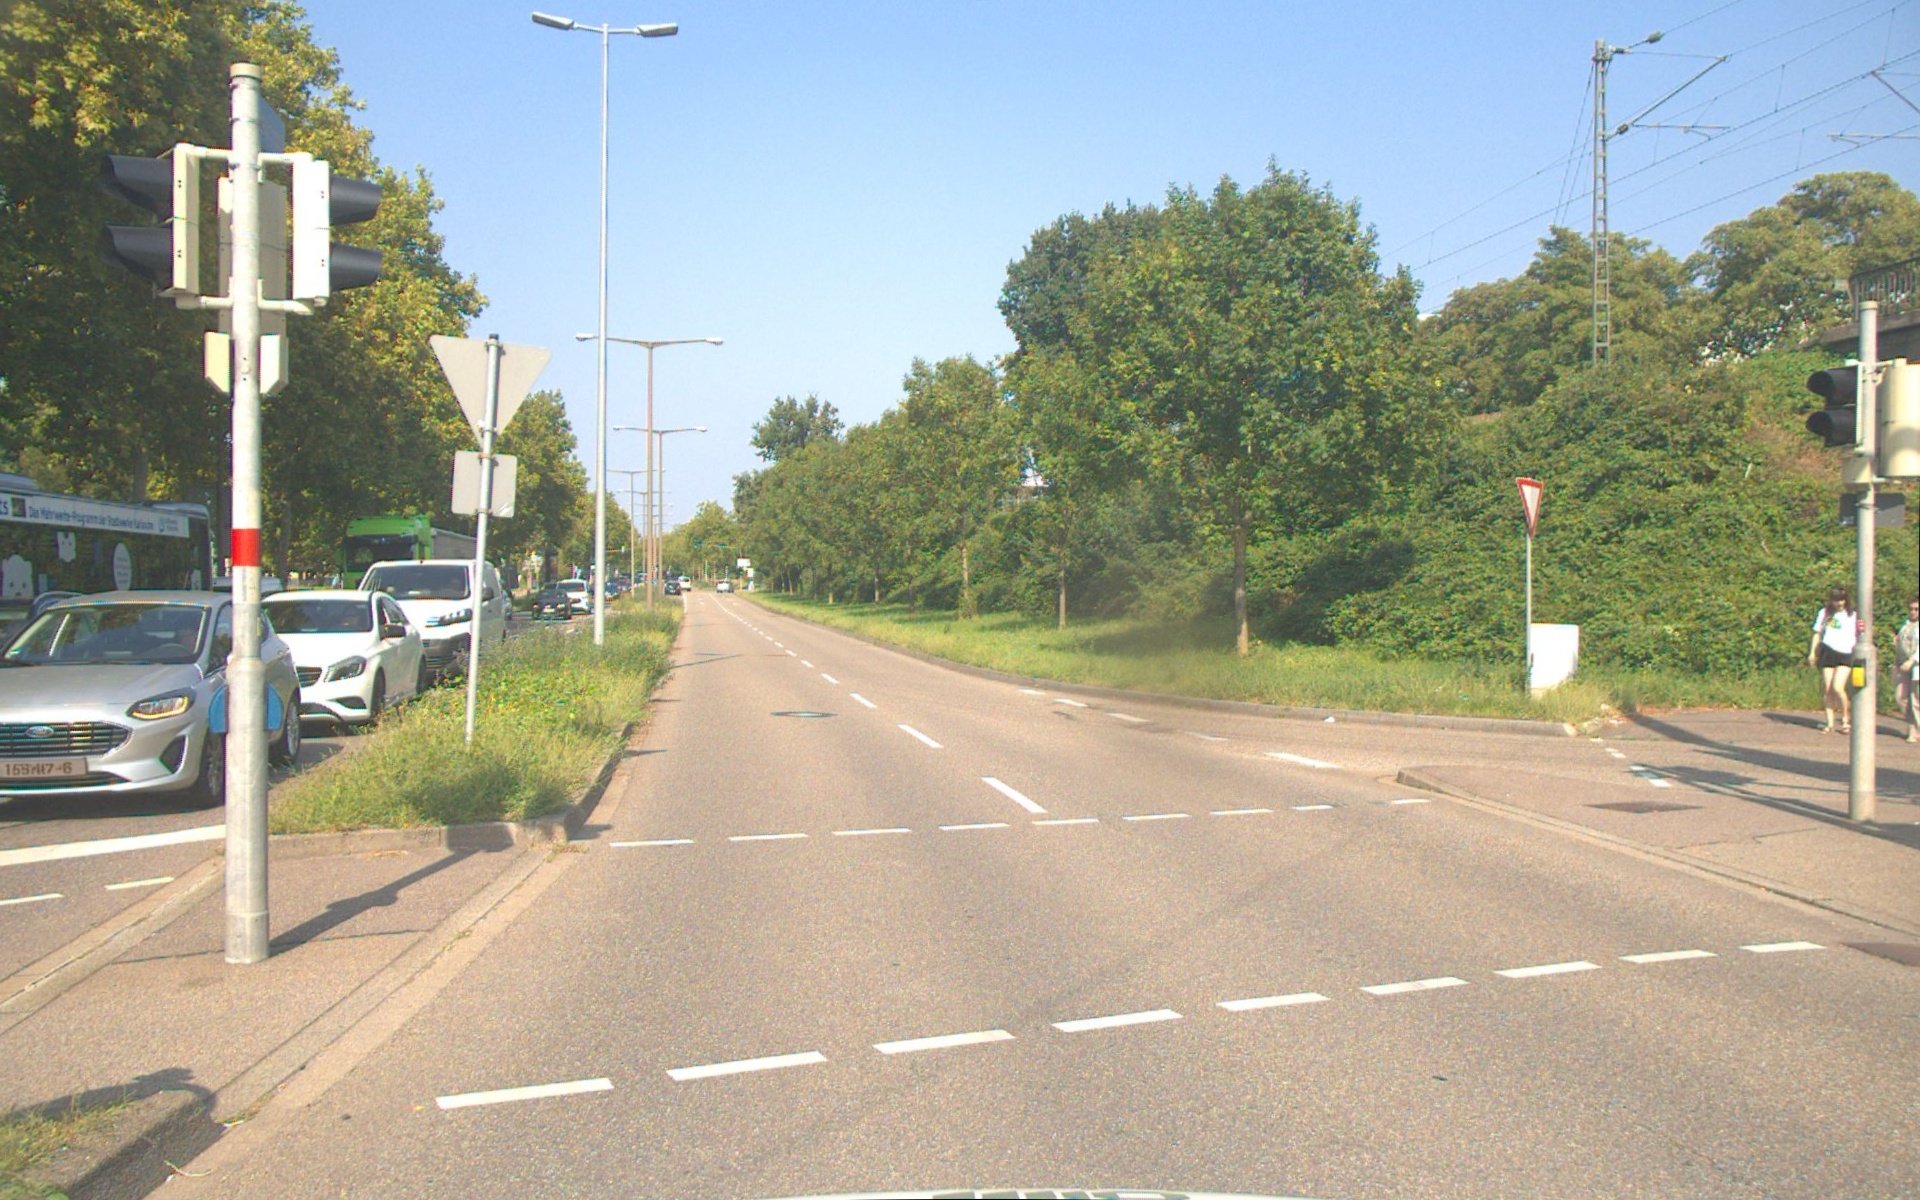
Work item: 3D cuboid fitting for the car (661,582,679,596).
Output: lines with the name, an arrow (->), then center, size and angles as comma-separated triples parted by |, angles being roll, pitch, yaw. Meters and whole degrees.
car -> -31.796, -1.173, 181.581 | 1.659, 1.512, 3.994 | 0, 1, -7

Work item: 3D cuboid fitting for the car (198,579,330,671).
car -> -15.911, 0.541, 38.055 | 1.672, 1.921, 4.738 | -2, 0, -9

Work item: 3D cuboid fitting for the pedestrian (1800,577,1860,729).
pedestrian -> 10.028, 0.595, 19.081 | 0.558, 1.711, 0.492 | 0, 3, 22

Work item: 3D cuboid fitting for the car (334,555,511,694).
car -> -8.173, 0.333, 25.569 | 1.877, 1.896, 4.878 | -1, 0, -10

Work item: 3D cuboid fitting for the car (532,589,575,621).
car -> -19.332, 0.222, 78.779 | 1.584, 1.423, 3.850 | -2, 0, -8

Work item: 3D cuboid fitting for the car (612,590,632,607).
car -> -36.404, -0.175, 178.404 | 1.918, 1.754, 4.576 | 0, 0, -9

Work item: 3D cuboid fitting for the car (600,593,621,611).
car -> -31.301, 0.209, 148.274 | 1.715, 1.505, 4.574 | -2, 0, -11

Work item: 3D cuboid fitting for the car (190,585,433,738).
car -> -6.841, 0.563, 17.860 | 1.678, 1.426, 4.073 | 0, 1, -10

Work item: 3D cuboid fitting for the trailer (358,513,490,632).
trailer -> -19.735, -0.912, 61.746 | 2.585, 3.888, 13.780 | -2, 0, -10

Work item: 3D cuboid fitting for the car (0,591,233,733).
car -> -10.162, 0.678, 19.884 | 1.675, 1.492, 3.813 | -2, 0, -10

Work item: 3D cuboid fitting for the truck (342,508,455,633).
truck -> -18.677, -0.930, 55.317 | 2.560, 3.886, 5.877 | -2, 0, -10

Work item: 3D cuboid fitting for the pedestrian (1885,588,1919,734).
pedestrian -> 10.585, 0.667, 18.282 | 0.559, 1.594, 0.536 | 0, -1, 22

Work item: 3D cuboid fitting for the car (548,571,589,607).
car -> -22.246, -0.590, 94.202 | 1.957, 1.988, 5.024 | -1, 0, -10

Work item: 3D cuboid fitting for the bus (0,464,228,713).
bus -> -13.939, -0.149, 24.479 | 2.542, 3.133, 12.286 | 1, 0, -9

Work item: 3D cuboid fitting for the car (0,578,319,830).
car -> -6.040, 0.640, 12.142 | 1.613, 1.521, 3.992 | -1, 0, -9

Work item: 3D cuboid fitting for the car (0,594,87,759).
car -> -9.436, 0.674, 14.663 | 1.674, 1.467, 3.993 | 1, 0, -8

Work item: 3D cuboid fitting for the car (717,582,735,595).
car -> -29.288, -1.458, 206.996 | 1.758, 1.537, 3.999 | 1, 0, -1
